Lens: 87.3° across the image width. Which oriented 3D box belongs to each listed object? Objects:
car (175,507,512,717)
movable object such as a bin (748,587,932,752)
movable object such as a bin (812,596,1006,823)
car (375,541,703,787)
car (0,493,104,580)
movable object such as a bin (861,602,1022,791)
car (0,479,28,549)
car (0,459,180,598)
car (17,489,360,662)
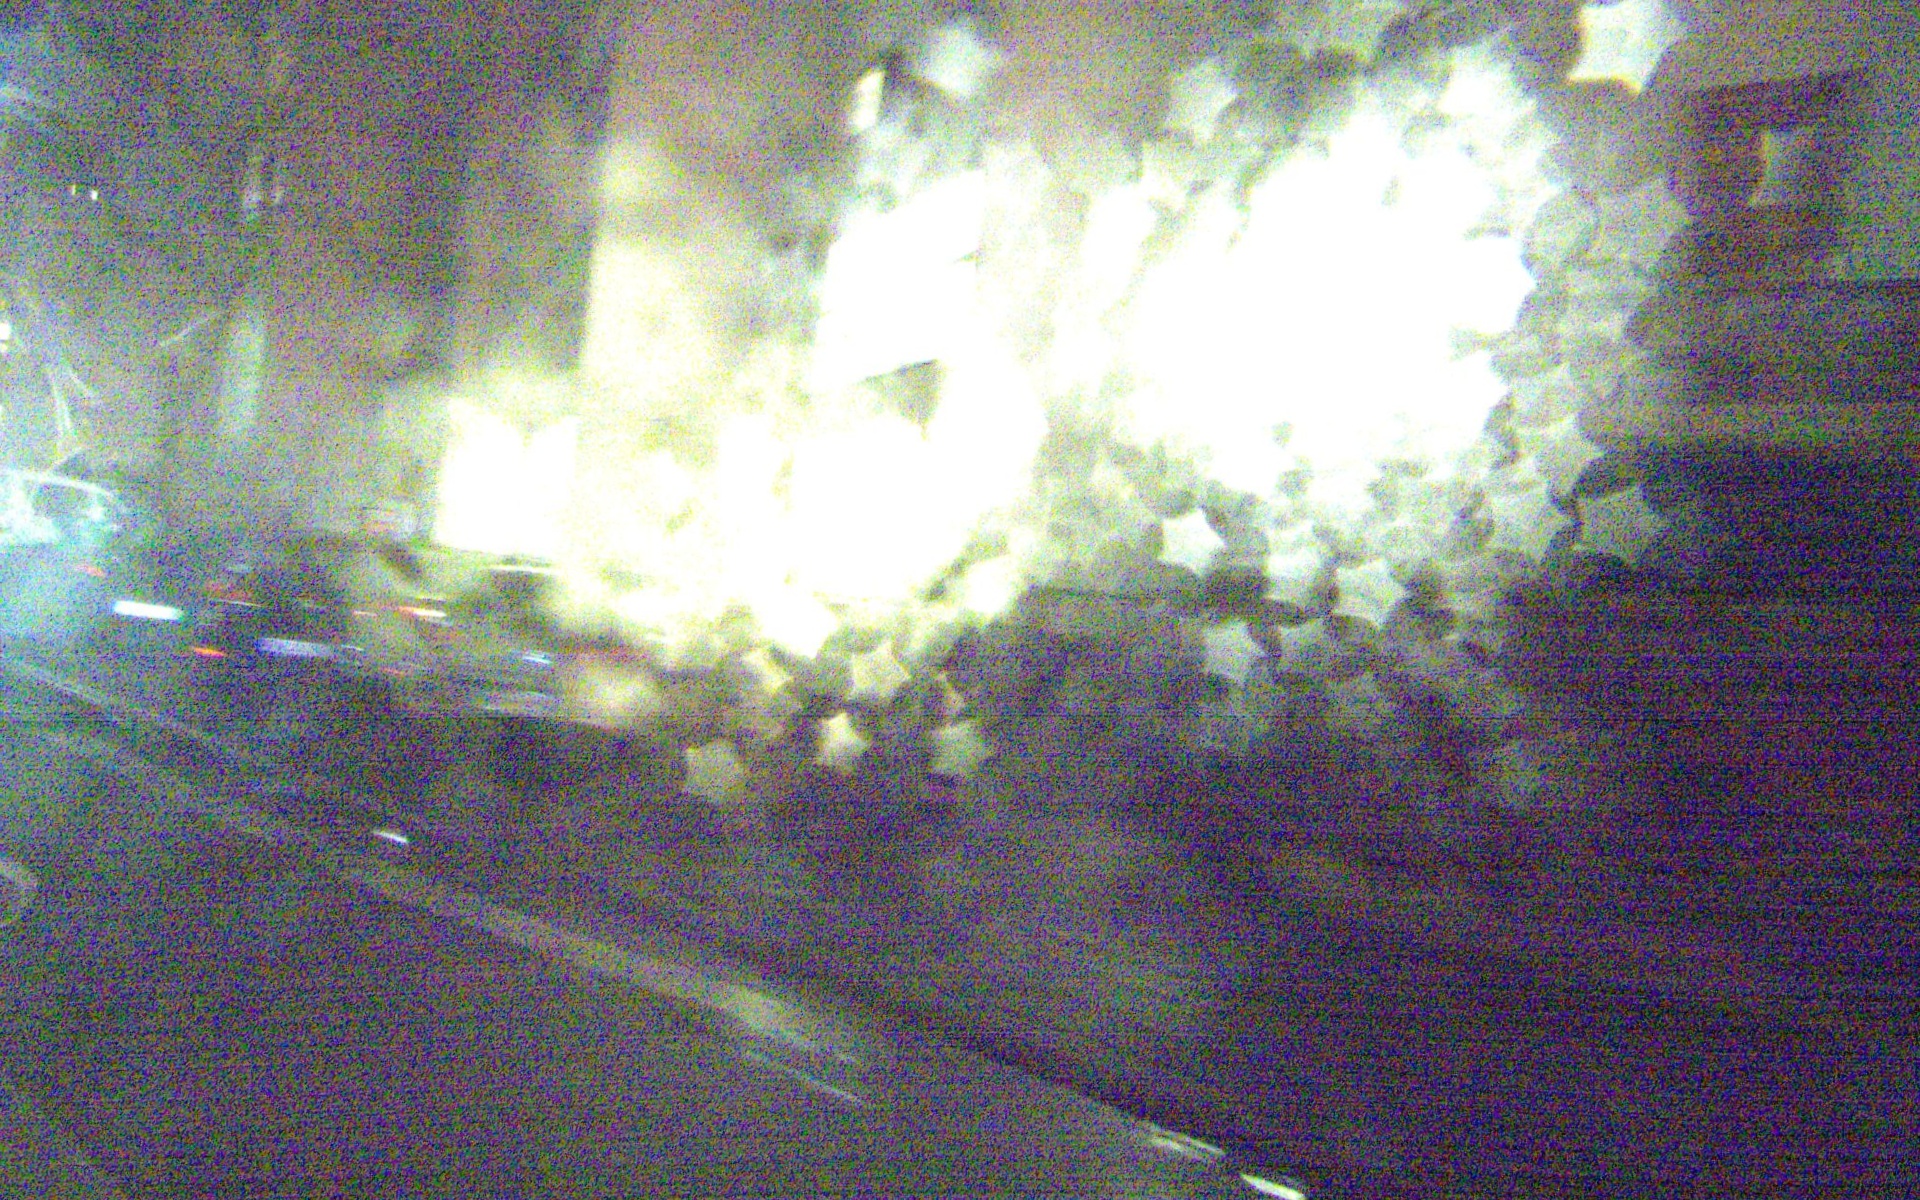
[{"bbox_3d":[-5.822,0.091,10.073,1.780,1.506,3.843,7,-1,-16],"label":"car"},{"bbox_3d":[-1.219,0.681,10.189,1.396,1.424,1.023,7,0,37],"label":"movable object such as a bin"},{"bbox_3d":[-0.330,0.773,7.591,1.007,1.424,1.353,7,0,11],"label":"movable object such as a bin"},{"bbox_3d":[-3.353,0.495,8.804,1.741,1.474,3.785,8,-2,-11],"label":"car"},{"bbox_3d":[-17.326,-1.232,17.731,1.602,1.401,3.337,8,-2,-4],"label":"car"},{"bbox_3d":[-0.121,0.814,9.000,1.007,1.424,1.413,7,0,11],"label":"movable object such as a bin"},{"bbox_3d":[-20.191,-1.837,19.157,1.668,1.421,4.440,8,0,-17],"label":"car"},{"bbox_3d":[-14.891,-1.162,16.043,1.931,1.859,4.169,9,-3,-10],"label":"car"},{"bbox_3d":[-8.604,-0.201,11.679,1.575,1.454,3.828,8,-2,-13],"label":"car"}]
